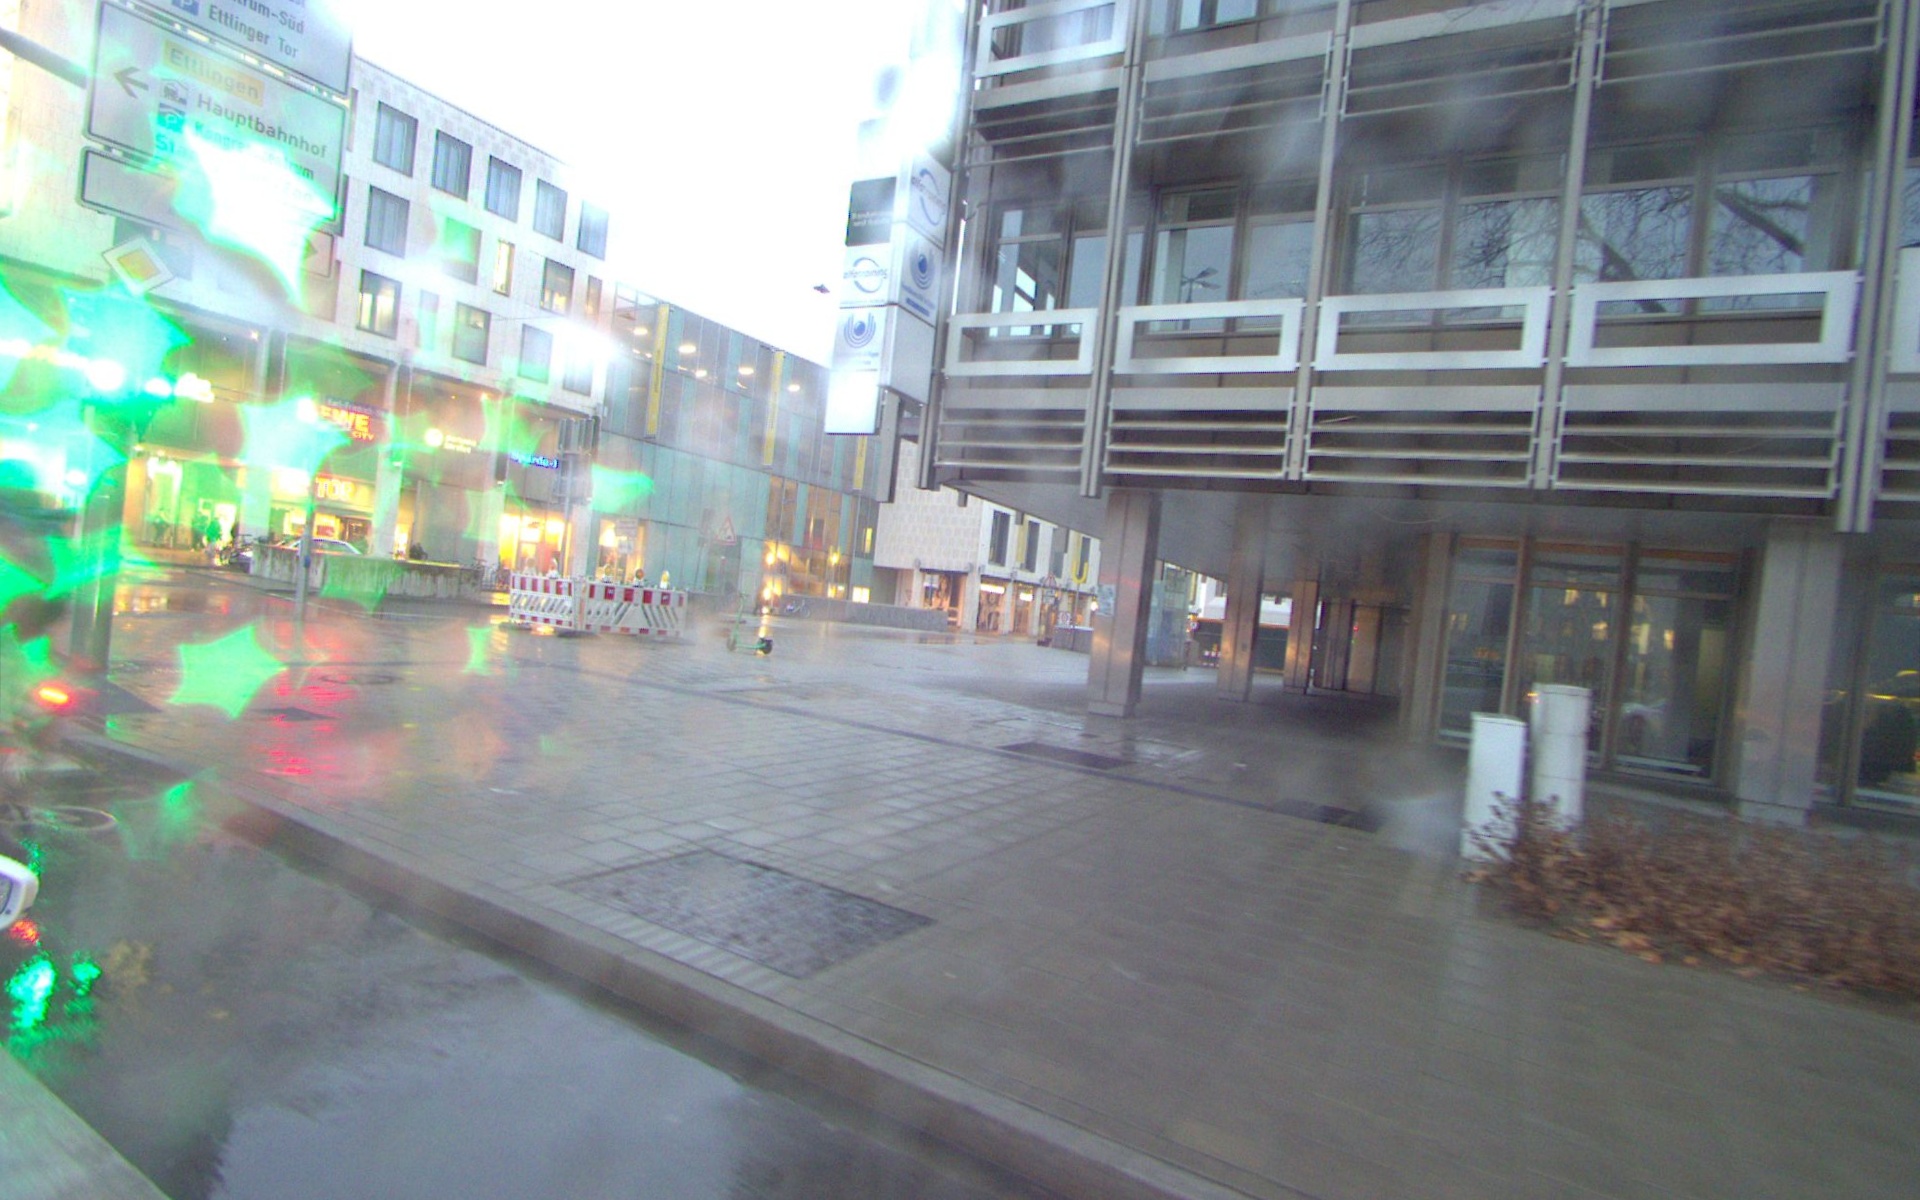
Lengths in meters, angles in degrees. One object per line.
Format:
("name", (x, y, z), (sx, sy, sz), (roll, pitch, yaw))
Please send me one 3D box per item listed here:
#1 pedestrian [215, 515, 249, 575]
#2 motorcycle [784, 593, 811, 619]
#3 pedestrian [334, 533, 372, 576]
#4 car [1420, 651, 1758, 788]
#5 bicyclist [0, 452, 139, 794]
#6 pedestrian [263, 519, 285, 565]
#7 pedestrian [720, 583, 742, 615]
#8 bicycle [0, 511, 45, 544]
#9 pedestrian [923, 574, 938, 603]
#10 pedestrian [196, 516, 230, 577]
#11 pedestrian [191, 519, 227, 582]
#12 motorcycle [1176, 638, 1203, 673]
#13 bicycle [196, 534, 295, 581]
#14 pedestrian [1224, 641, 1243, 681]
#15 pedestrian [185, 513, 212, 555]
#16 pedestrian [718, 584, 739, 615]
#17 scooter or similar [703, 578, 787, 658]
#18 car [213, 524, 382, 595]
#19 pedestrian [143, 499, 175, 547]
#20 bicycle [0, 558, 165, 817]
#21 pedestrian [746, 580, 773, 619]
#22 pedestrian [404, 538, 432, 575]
("pedestrian", (-31.426, -2.370, 43.420), (0.778, 2.477, 0.694), (6, -1, 31))
("motorcycle", (-9.799, 0.375, 60.858), (0.585, 1.368, 1.491), (7, -1, 36))
("pedestrian", (-26.797, -2.004, 44.420), (0.810, 1.703, 1.032), (6, -1, 31))
("car", (9.220, 1.671, 15.038), (3.935, 1.327, 1.994), (6, 1, 33))
("bicyclist", (-5.024, 0.086, 5.285), (0.948, 1.680, 0.703), (7, 1, 32))
("pedestrian", (-29.154, -2.466, 42.739), (0.355, 1.849, 0.551), (6, 1, 32))
("pedestrian", (-13.178, -0.041, 57.885), (0.770, 1.703, 0.742), (6, -1, 38))
("bicycle", (-36.054, -2.793, 38.272), (0.515, 1.082, 1.651), (6, -2, 28))
("pedestrian", (-1.863, -0.726, 63.756), (0.573, 1.703, 0.542), (6, -1, 38))
("pedestrian", (-31.634, -2.262, 42.601), (0.745, 2.469, 0.690), (6, -1, 31))
("pedestrian", (-31.023, -2.029, 41.573), (0.745, 2.469, 0.716), (6, -1, 31))
("motorcycle", (9.962, 2.415, 43.662), (0.584, 1.368, 1.493), (7, -1, 29))
("bicycle", (-25.954, -1.533, 36.589), (0.941, 1.375, 2.718), (6, -1, 28))
("pedestrian", (13.033, 2.916, 47.991), (0.678, 1.796, 0.660), (7, -1, 16))
("pedestrian", (-33.344, -2.884, 44.053), (0.729, 1.740, 0.733), (5, 1, -31))
("pedestrian", (-14.134, -0.030, 61.355), (0.770, 1.703, 0.742), (6, -1, 38))
("scooter or similar", (-4.264, 0.351, 19.950), (1.470, 1.368, 0.593), (7, -1, 32))
("car", (-21.284, -1.270, 32.468), (1.968, 1.636, 3.994), (6, -2, 33))
("pedestrian", (-35.785, -3.435, 44.945), (0.688, 2.039, 0.845), (7, 1, 40))
("bicycle", (-5.029, 0.381, 5.274), (1.754, 1.107, 0.709), (7, 0, 32))
("pedestrian", (-9.517, -0.031, 47.785), (0.770, 1.703, 0.742), (6, -1, 38))
("pedestrian", (-26.104, -2.091, 48.462), (0.519, 1.705, 0.894), (6, 0, 31))
